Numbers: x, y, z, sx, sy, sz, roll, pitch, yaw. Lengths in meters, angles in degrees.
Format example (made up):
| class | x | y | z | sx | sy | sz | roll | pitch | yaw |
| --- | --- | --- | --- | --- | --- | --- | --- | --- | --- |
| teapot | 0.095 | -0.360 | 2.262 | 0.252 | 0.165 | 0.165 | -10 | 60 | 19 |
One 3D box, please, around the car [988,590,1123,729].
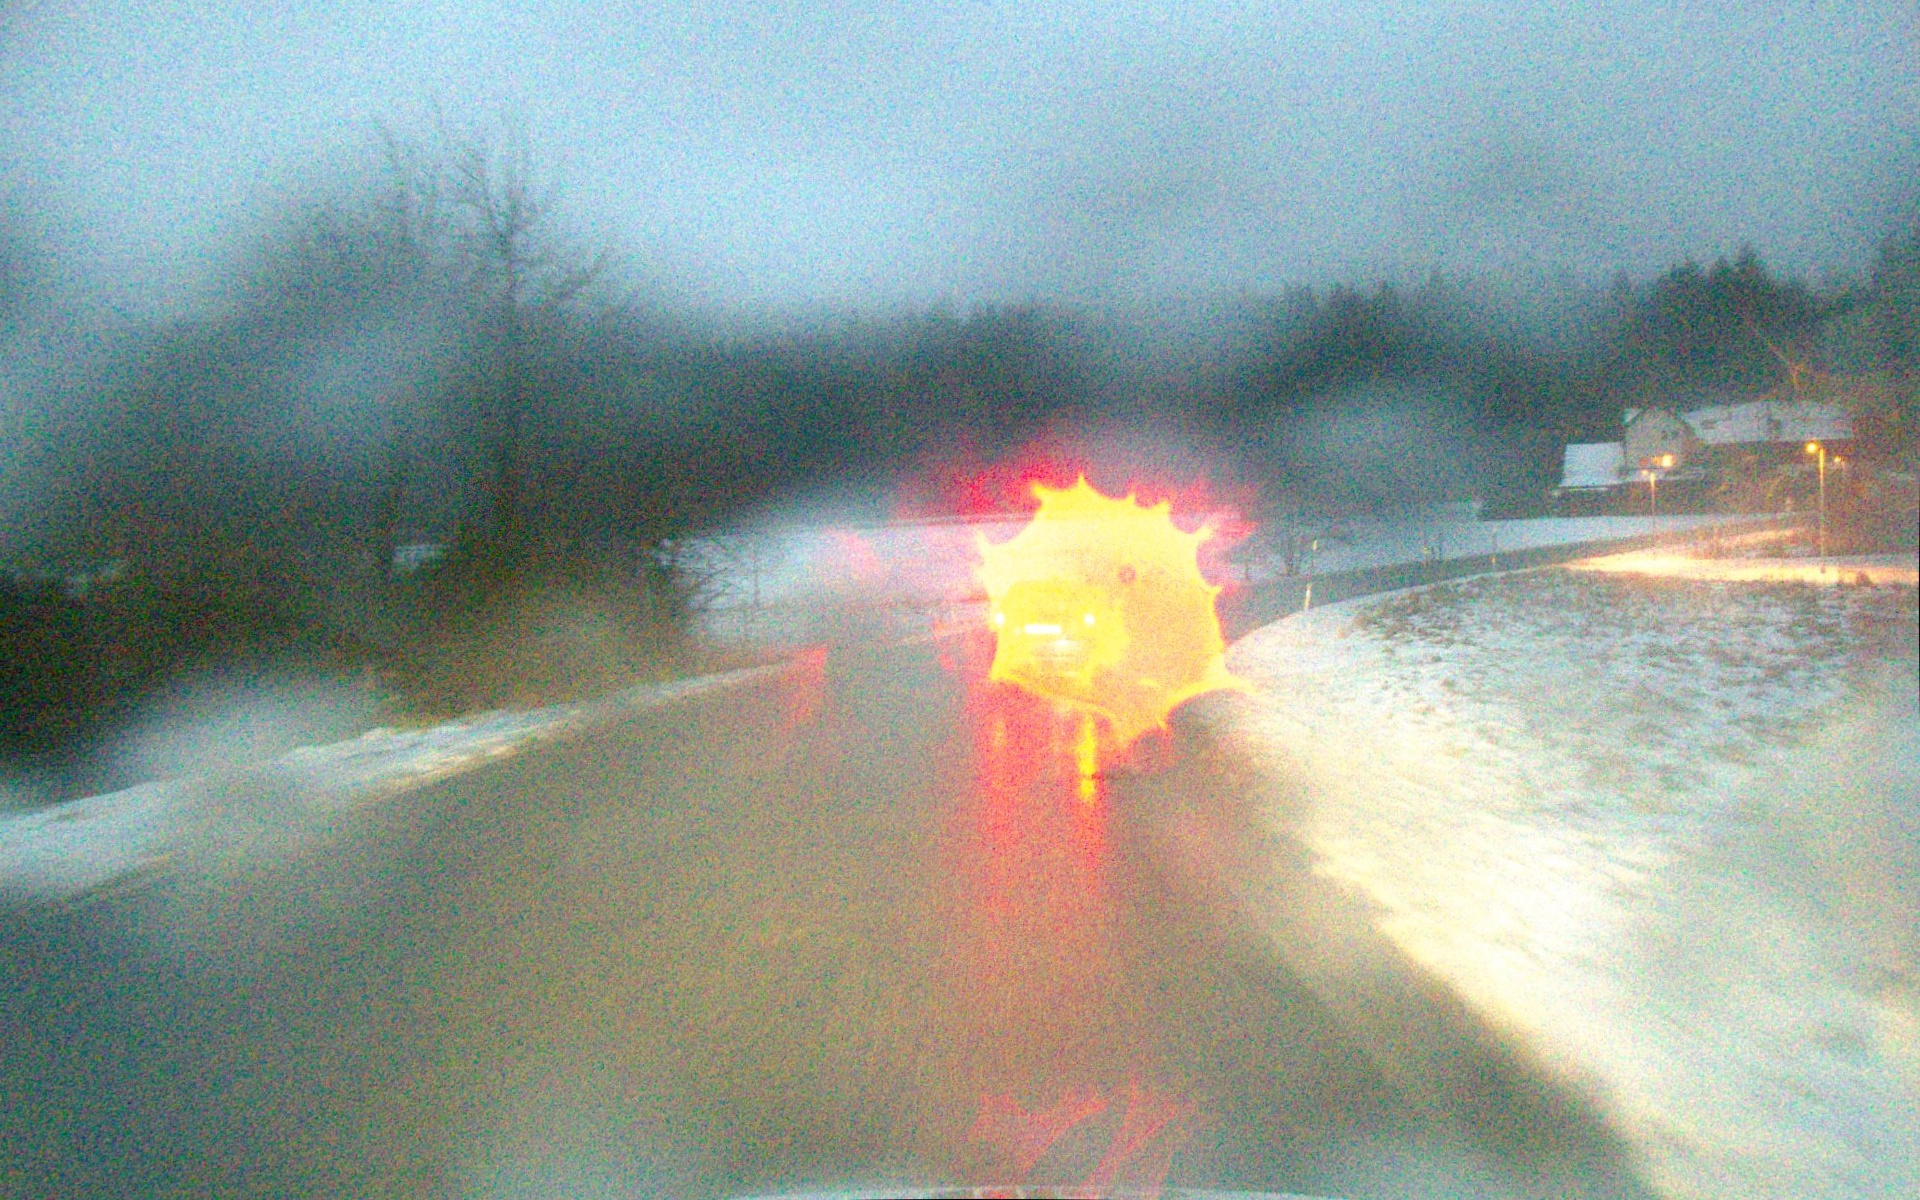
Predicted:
| class | x | y | z | sx | sy | sz | roll | pitch | yaw |
| --- | --- | --- | --- | --- | --- | --- | --- | --- | --- |
| car | 1.457 | 0.799 | 24.306 | 1.784 | 1.828 | 3.580 | -2 | 0 | 5 |
